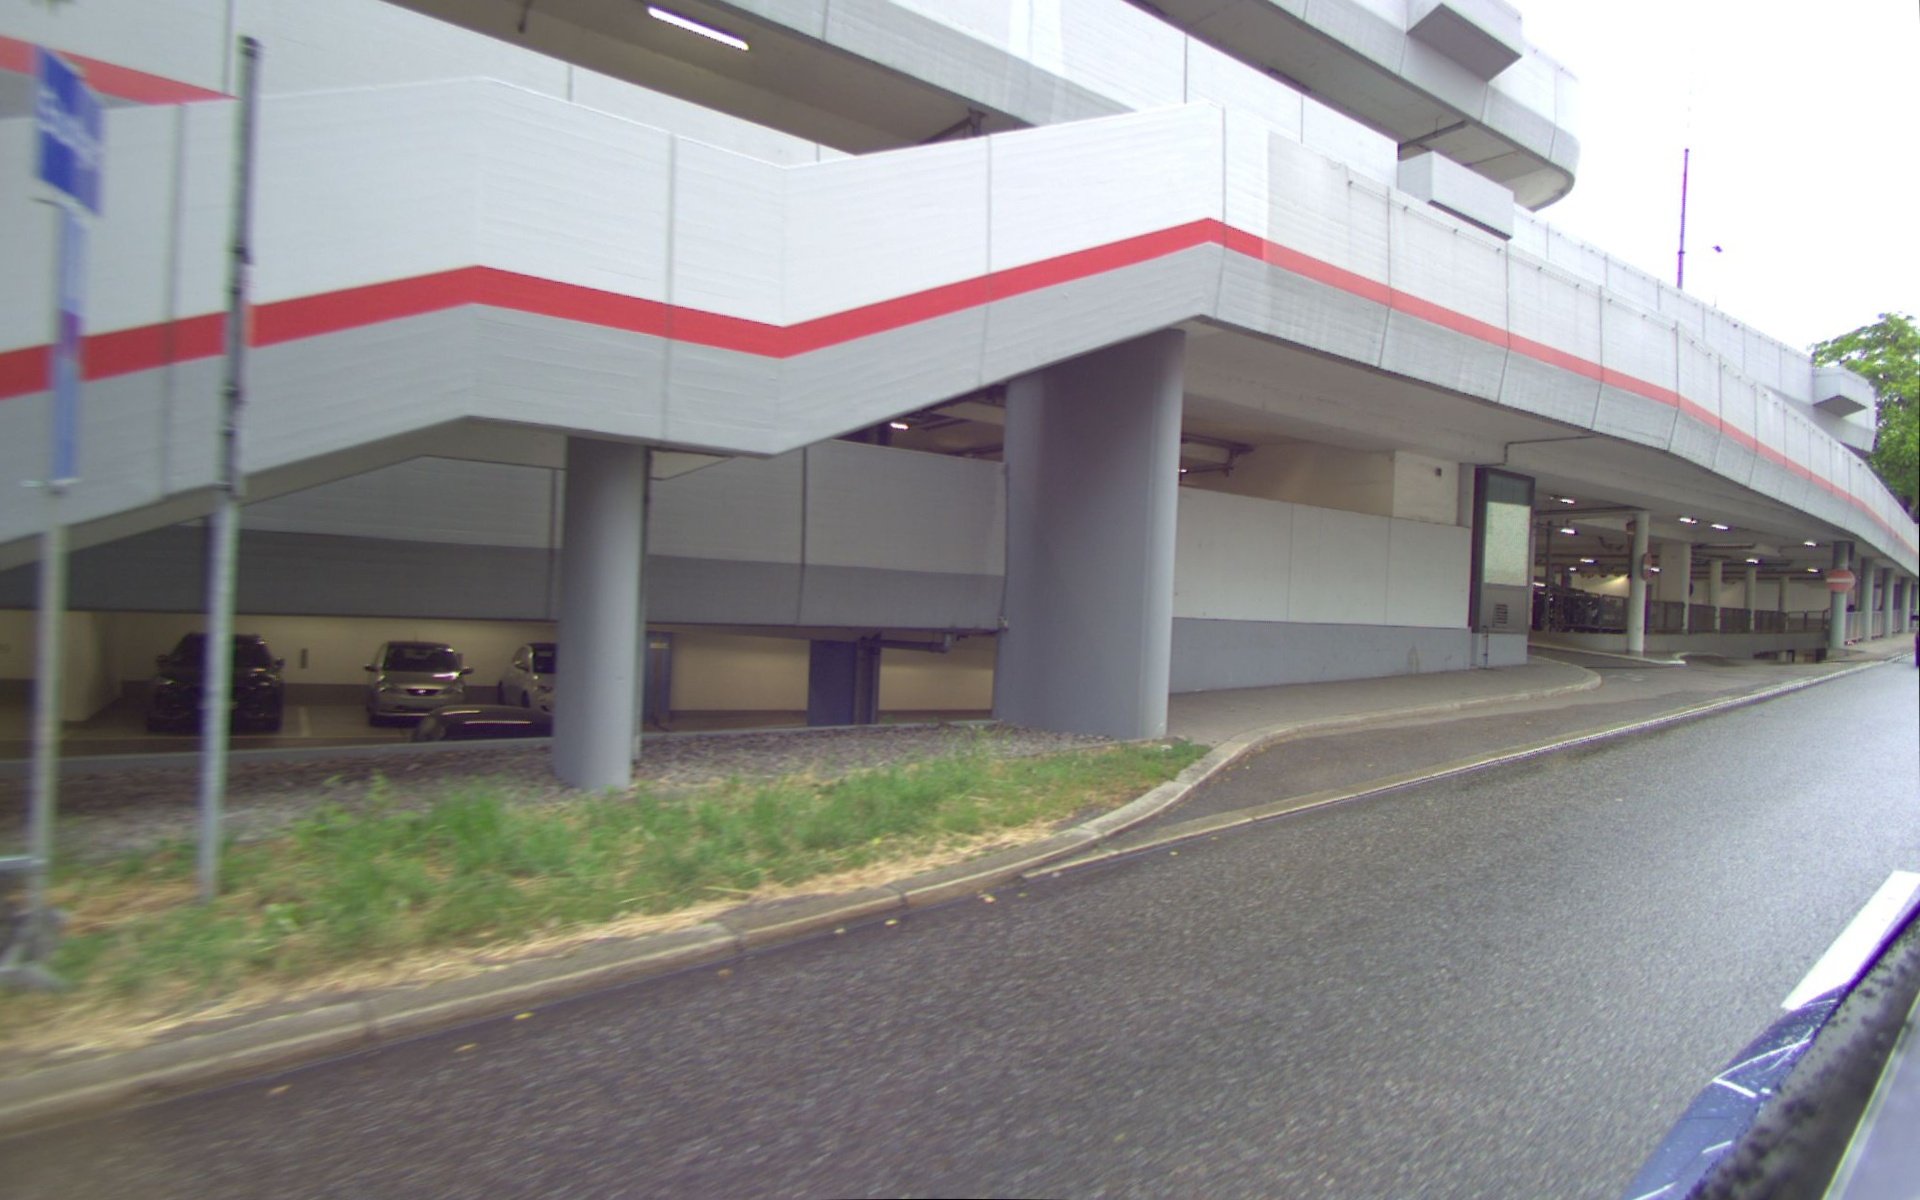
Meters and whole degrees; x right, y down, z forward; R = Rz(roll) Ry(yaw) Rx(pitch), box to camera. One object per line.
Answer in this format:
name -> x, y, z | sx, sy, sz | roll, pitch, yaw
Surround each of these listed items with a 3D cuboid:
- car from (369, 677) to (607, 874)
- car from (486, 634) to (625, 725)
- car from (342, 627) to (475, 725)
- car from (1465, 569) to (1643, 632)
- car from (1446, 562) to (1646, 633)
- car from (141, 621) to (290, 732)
car -> -5.630, 1.849, 11.803 | 1.803, 1.560, 3.943 | 4, -2, -35
car -> -8.635, 1.620, 21.417 | 1.803, 1.560, 4.001 | 4, -2, -35
car -> -10.910, 1.426, 19.875 | 1.803, 1.560, 4.001 | 4, -2, -35
car -> 18.212, 0.004, 31.222 | 1.960, 1.682, 4.261 | 5, -2, -31
car -> 15.905, -0.081, 27.693 | 1.960, 1.682, 4.261 | 5, -2, -31
car -> -12.884, 1.265, 17.681 | 1.803, 1.560, 4.001 | 4, -2, -35
